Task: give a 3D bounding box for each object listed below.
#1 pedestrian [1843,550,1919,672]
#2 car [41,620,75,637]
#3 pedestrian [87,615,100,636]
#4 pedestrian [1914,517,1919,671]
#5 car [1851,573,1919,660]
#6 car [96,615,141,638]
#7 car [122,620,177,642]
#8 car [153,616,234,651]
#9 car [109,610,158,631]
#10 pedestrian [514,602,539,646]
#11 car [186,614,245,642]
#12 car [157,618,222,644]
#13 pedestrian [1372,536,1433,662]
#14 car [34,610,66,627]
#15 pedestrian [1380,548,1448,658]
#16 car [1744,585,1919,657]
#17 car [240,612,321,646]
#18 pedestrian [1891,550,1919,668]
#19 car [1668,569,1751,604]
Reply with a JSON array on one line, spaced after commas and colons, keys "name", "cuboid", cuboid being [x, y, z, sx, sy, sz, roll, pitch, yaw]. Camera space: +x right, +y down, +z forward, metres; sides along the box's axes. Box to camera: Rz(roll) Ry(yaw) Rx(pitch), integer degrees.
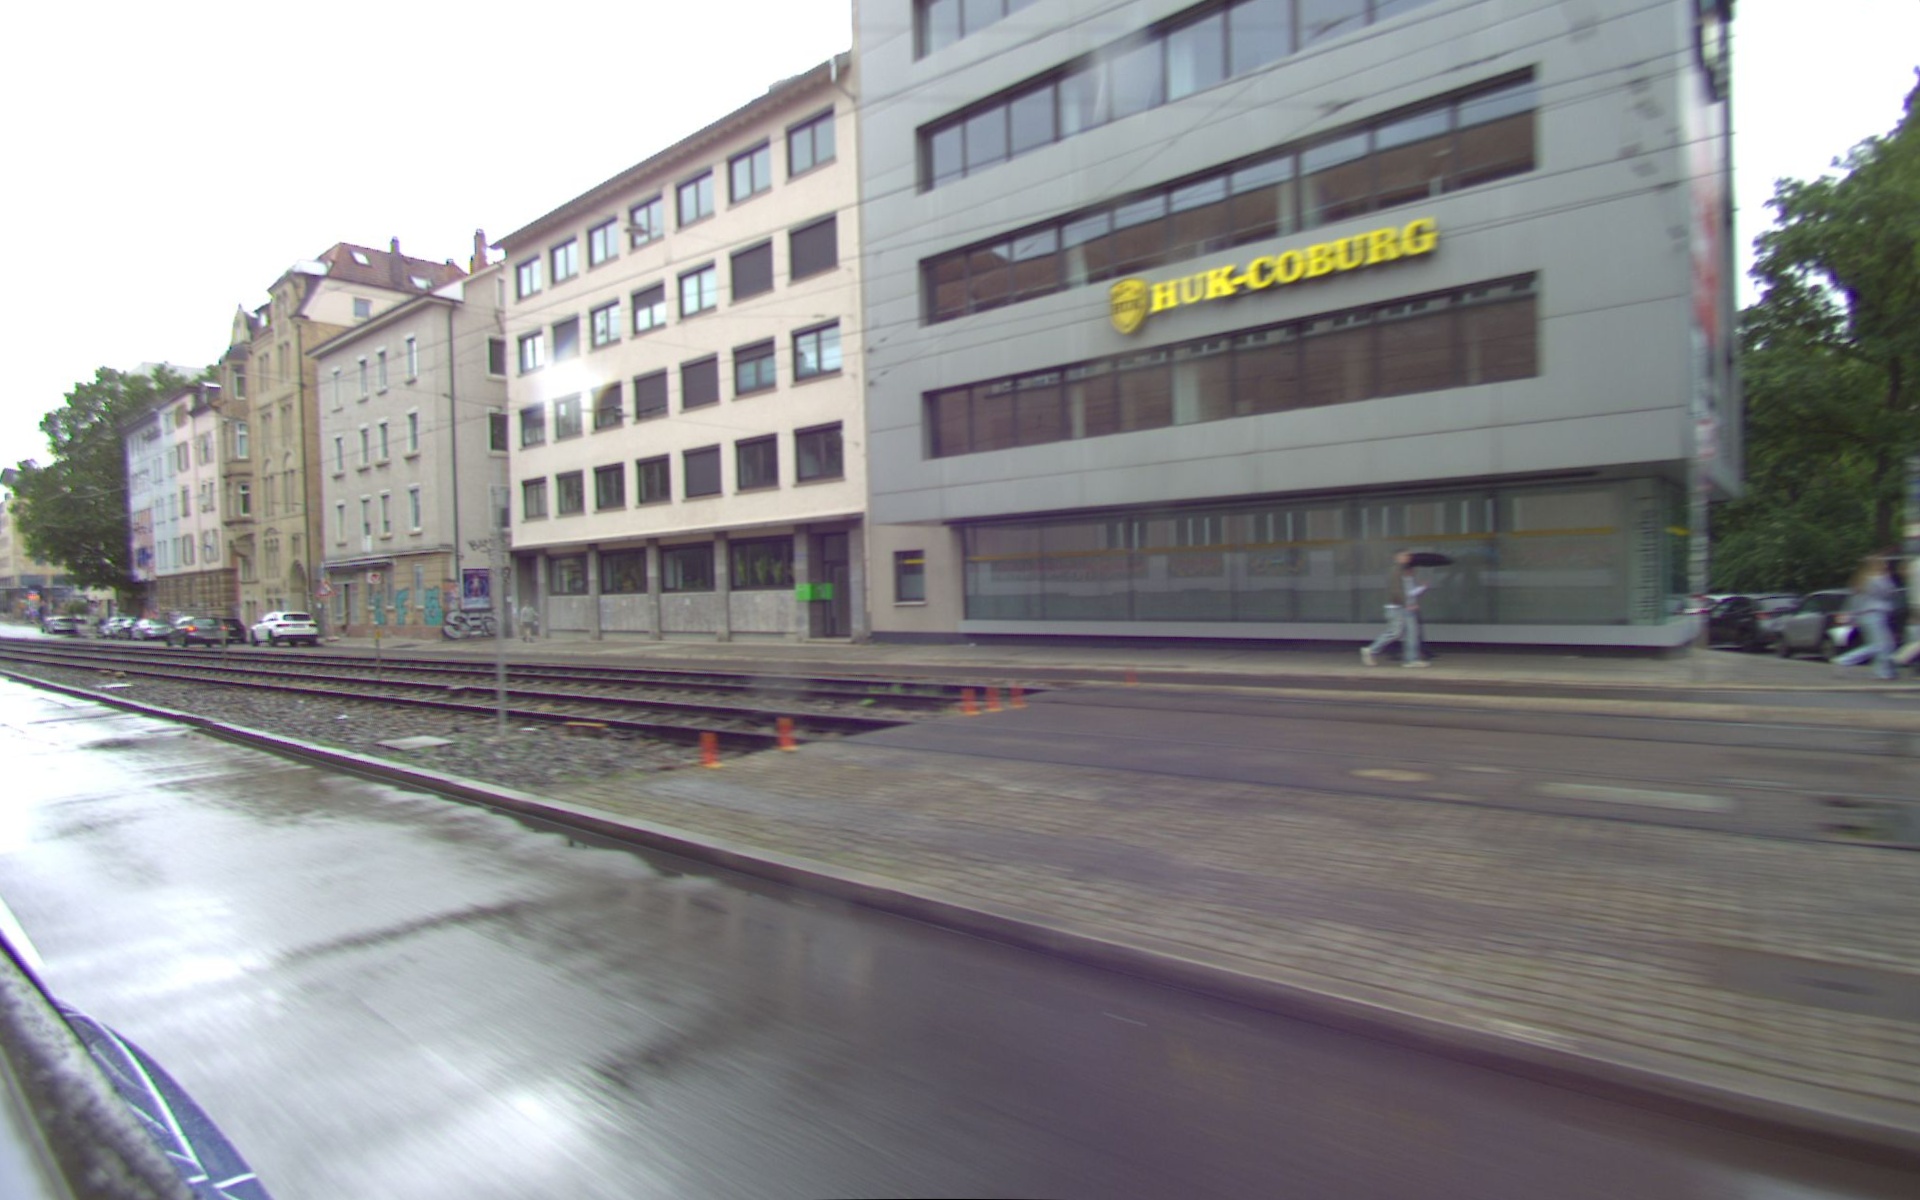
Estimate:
[{"name": "pedestrian", "cuboid": [12.554, 0.134, 13.792, 0.579, 1.606, 0.638, -3, 2, -32]}, {"name": "car", "cuboid": [-82.581, 2.605, 92.641, 4.227, 1.553, 1.818, -1, -1, 42]}, {"name": "pedestrian", "cuboid": [-79.505, 2.355, 92.848, 0.536, 1.883, 0.798, -2, -1, 44]}, {"name": "pedestrian", "cuboid": [12.963, -0.076, 13.094, 0.609, 2.028, 0.662, -2, 2, 3]}, {"name": "car", "cuboid": [18.222, 0.296, 18.316, 1.688, 1.562, 3.721, 0, 0, 16]}, {"name": "car", "cuboid": [-61.454, 1.899, 73.883, 4.224, 1.617, 1.819, -1, -1, 40]}, {"name": "car", "cuboid": [-53.205, 2.035, 66.430, 5.020, 1.408, 1.972, -1, -2, 42]}, {"name": "car", "cuboid": [-35.710, 1.548, 47.101, 4.342, 1.548, 1.921, -1, -2, 38]}, {"name": "car", "cuboid": [-57.205, 1.437, 70.025, 4.262, 1.408, 1.819, -1, -1, 40]}, {"name": "pedestrian", "cuboid": [-16.839, 0.928, 39.327, 0.799, 1.624, 0.541, -1, 3, 43]}, {"name": "car", "cuboid": [-41.146, 1.552, 55.884, 4.168, 1.467, 1.718, -1, -2, 41]}, {"name": "car", "cuboid": [-45.312, 1.798, 59.482, 5.019, 1.467, 1.973, -1, -2, 41]}, {"name": "pedestrian", "cuboid": [7.334, -0.030, 16.770, 0.808, 2.028, 0.656, -1, 2, 31]}, {"name": "car", "cuboid": [-86.359, 1.722, 96.039, 4.227, 1.553, 1.818, -1, -1, 42]}, {"name": "pedestrian", "cuboid": [7.888, 0.032, 17.616, 0.653, 1.829, 0.975, -2, 2, -5]}, {"name": "car", "cuboid": [19.288, 0.441, 22.377, 1.686, 1.465, 3.725, 0, 0, 14]}, {"name": "car", "cuboid": [-32.407, 1.374, 48.233, 4.746, 1.548, 1.973, -1, -2, 41]}, {"name": "pedestrian", "cuboid": [13.420, 0.114, 13.841, 0.965, 1.606, 0.581, 0, 2, 39]}, {"name": "car", "cuboid": [32.760, -0.545, 44.329, 1.687, 1.459, 3.523, 0, 0, 15]}]
